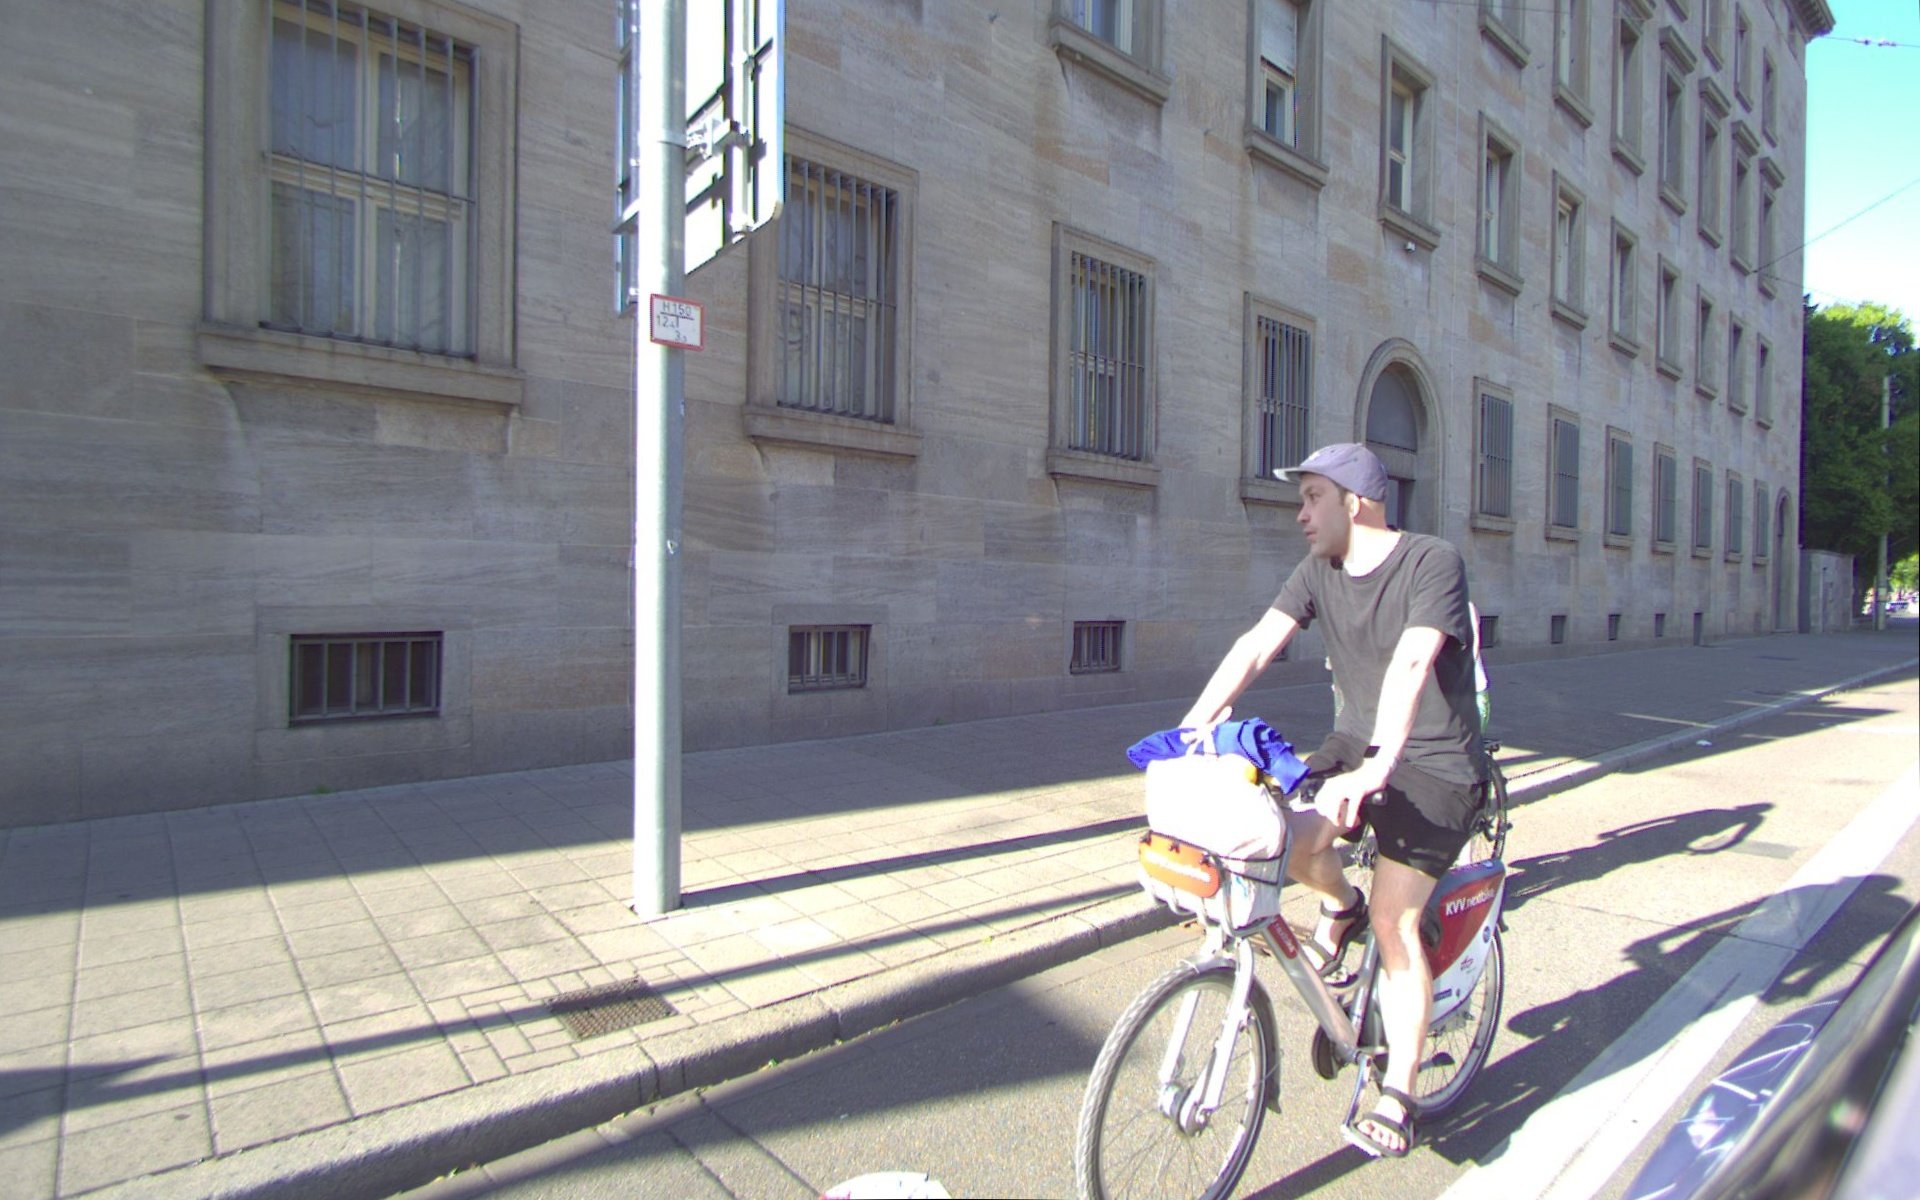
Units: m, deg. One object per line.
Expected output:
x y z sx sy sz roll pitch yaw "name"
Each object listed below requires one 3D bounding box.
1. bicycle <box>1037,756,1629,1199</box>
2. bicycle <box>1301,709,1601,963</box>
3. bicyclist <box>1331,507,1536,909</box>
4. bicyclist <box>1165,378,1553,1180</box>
1.098 0.984 2.714 1.912 0.916 0.391 0 1 -32 "bicycle"
2.340 1.000 4.695 1.914 0.887 0.428 3 -1 -38 "bicycle"
2.222 0.450 4.740 0.843 1.700 0.523 0 1 -38 "bicyclist"
1.012 0.372 2.605 0.645 1.699 0.671 0 1 -38 "bicyclist"
